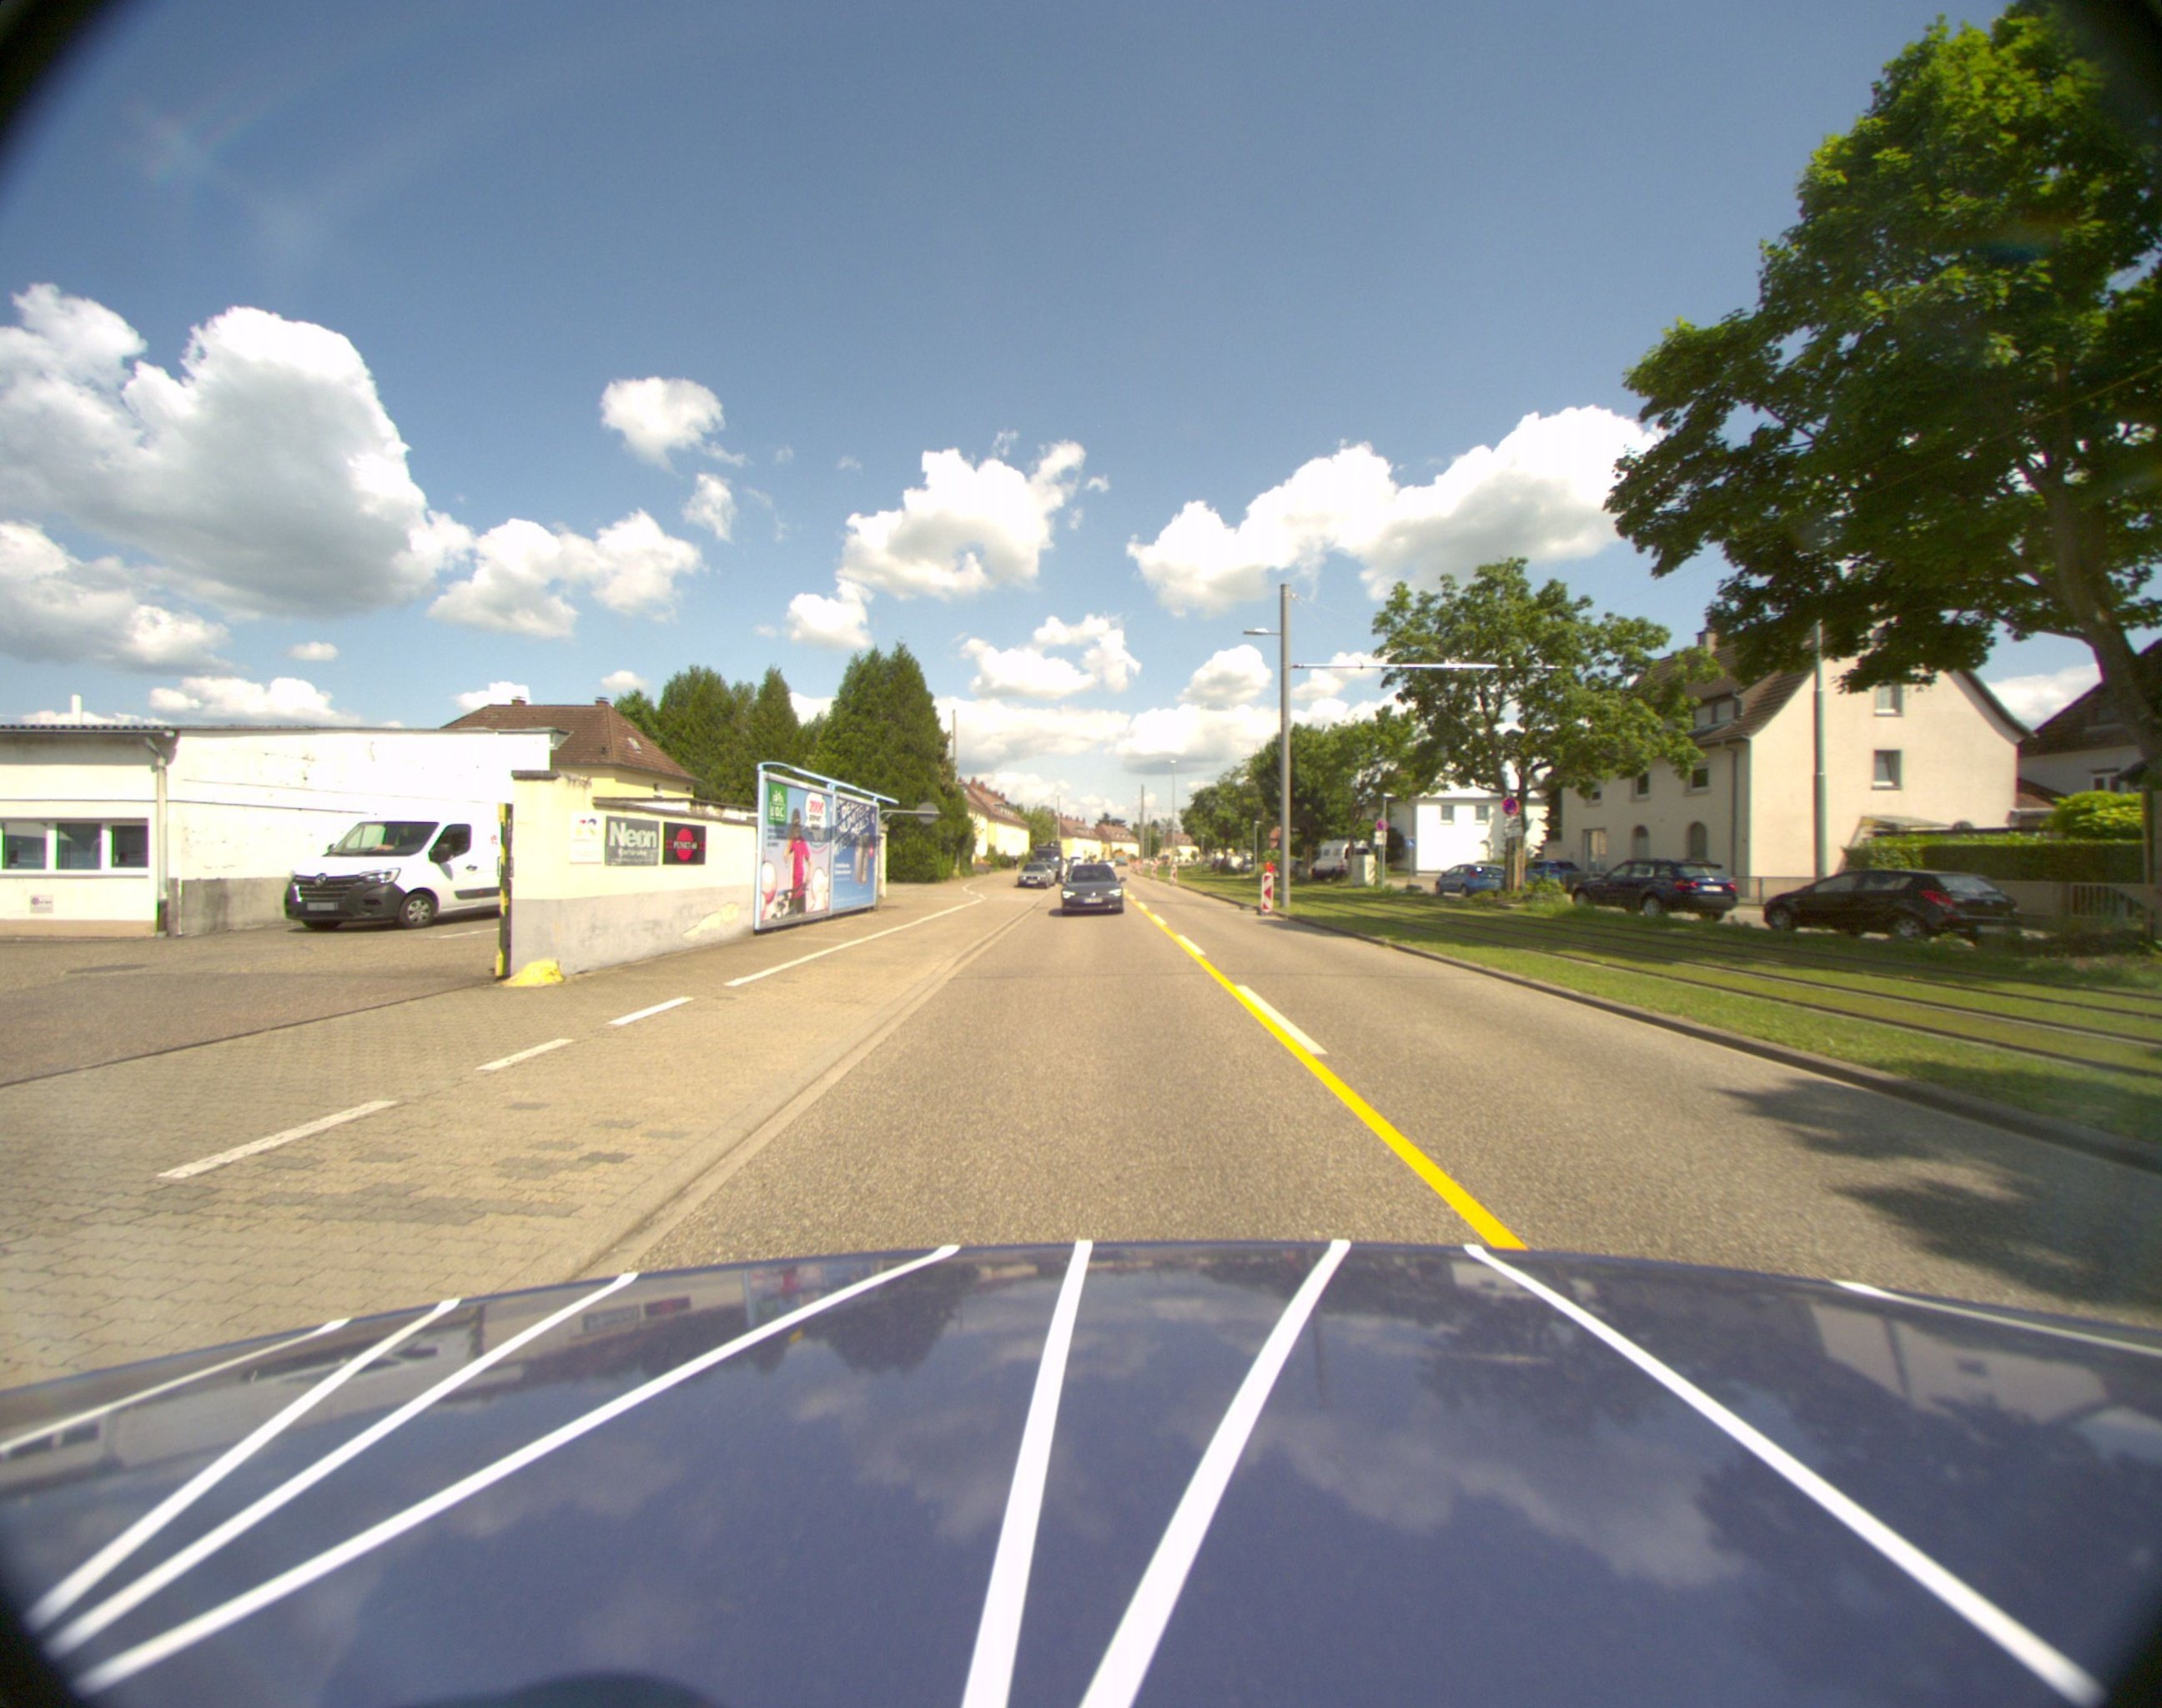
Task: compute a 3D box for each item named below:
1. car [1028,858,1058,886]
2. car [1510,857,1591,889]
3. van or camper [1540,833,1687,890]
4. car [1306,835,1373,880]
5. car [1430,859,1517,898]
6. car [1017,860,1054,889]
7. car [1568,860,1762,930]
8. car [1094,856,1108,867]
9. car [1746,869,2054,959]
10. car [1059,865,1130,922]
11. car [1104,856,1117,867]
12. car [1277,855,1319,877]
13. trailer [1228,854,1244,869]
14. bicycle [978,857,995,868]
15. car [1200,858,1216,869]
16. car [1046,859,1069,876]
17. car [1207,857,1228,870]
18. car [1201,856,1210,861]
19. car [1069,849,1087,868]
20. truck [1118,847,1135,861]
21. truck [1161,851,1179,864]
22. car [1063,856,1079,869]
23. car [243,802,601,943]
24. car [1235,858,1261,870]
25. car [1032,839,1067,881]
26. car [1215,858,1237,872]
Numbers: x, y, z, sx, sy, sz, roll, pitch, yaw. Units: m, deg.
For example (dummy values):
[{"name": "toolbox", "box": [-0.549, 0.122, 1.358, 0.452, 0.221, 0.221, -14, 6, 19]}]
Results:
[{"name": "car", "box": [-2.282, 1.074, 46.677, 1.696, 1.507, 4.355, 1, 1, -1]}, {"name": "car", "box": [25.135, 0.991, 40.876, 1.907, 1.568, 4.000, 1, 1, 1]}, {"name": "van or camper", "box": [31.316, 0.427, 44.873, 6.744, 3.203, 2.635, 1, 0, 1]}, {"name": "car", "box": [16.588, 0.220, 49.201, 1.999, 2.714, 6.462, 1, 0, -1]}, {"name": "car", "box": [16.313, 0.977, 31.806, 1.758, 1.427, 3.890, 1, 1, 3]}, {"name": "car", "box": [-2.463, 1.076, 41.822, 1.655, 1.423, 4.097, 1, 1, 2]}, {"name": "car", "box": [16.307, 1.071, 21.578, 1.999, 1.681, 4.390, 1, 1, -2]}, {"name": "car", "box": [2.844, 1.031, 107.907, 1.998, 1.566, 4.000, 0, 0, 1]}, {"name": "car", "box": [16.484, 1.121, 15.676, 1.998, 1.430, 4.000, 2, 1, 1]}, {"name": "car", "box": [0.343, 1.041, 21.800, 1.786, 1.412, 4.290, -2, -1, 0]}, {"name": "car", "box": [5.107, 1.302, 129.442, 1.997, 1.791, 4.002, 1, 0, 6]}, {"name": "car", "box": [16.795, 0.903, 58.986, 1.998, 1.497, 4.486, 1, 1, 1]}, {"name": "trailer", "box": [16.997, 0.812, 83.410, 1.302, 1.510, 2.282, 1, 0, 0]}, {"name": "bicycle", "box": [-9.175, 0.811, 73.801, 1.693, 1.096, 0.290, 0, 0, 1]}, {"name": "car", "box": [19.591, 1.441, 117.392, 1.998, 1.531, 4.323, 1, 1, 4]}, {"name": "car", "box": [-1.948, 1.100, 63.426, 1.725, 1.287, 4.128, 2, 0, 0]}, {"name": "car", "box": [17.715, 1.211, 98.729, 1.998, 1.531, 4.322, 1, 1, 2]}, {"name": "car", "box": [36.582, 1.407, 223.126, 1.510, 1.490, 3.581, 2, 0, 28]}, {"name": "car", "box": [-0.363, 0.604, 107.127, 1.923, 2.522, 5.346, 2, 0, 5]}, {"name": "truck", "box": [10.283, 0.011, 171.865, 2.530, 2.931, 7.868, 1, 1, 12]}, {"name": "truck", "box": [23.175, 0.914, 197.300, 2.698, 3.346, 8.063, 2, 0, 21]}, {"name": "car", "box": [-1.238, 1.071, 93.458, 1.756, 1.480, 4.628, 2, 0, 1]}, {"name": "car", "box": [-13.320, 0.211, 16.202, 1.998, 2.430, 6.172, 0, 2, 2]}, {"name": "car", "box": [17.095, 0.980, 77.877, 1.785, 1.087, 3.836, 1, 1, 1]}, {"name": "car", "box": [-2.127, 0.386, 52.644, 2.001, 2.744, 4.879, 2, 0, 1]}, {"name": "car", "box": [17.796, 1.373, 93.531, 1.910, 1.568, 4.102, 4, -1, 2]}]
